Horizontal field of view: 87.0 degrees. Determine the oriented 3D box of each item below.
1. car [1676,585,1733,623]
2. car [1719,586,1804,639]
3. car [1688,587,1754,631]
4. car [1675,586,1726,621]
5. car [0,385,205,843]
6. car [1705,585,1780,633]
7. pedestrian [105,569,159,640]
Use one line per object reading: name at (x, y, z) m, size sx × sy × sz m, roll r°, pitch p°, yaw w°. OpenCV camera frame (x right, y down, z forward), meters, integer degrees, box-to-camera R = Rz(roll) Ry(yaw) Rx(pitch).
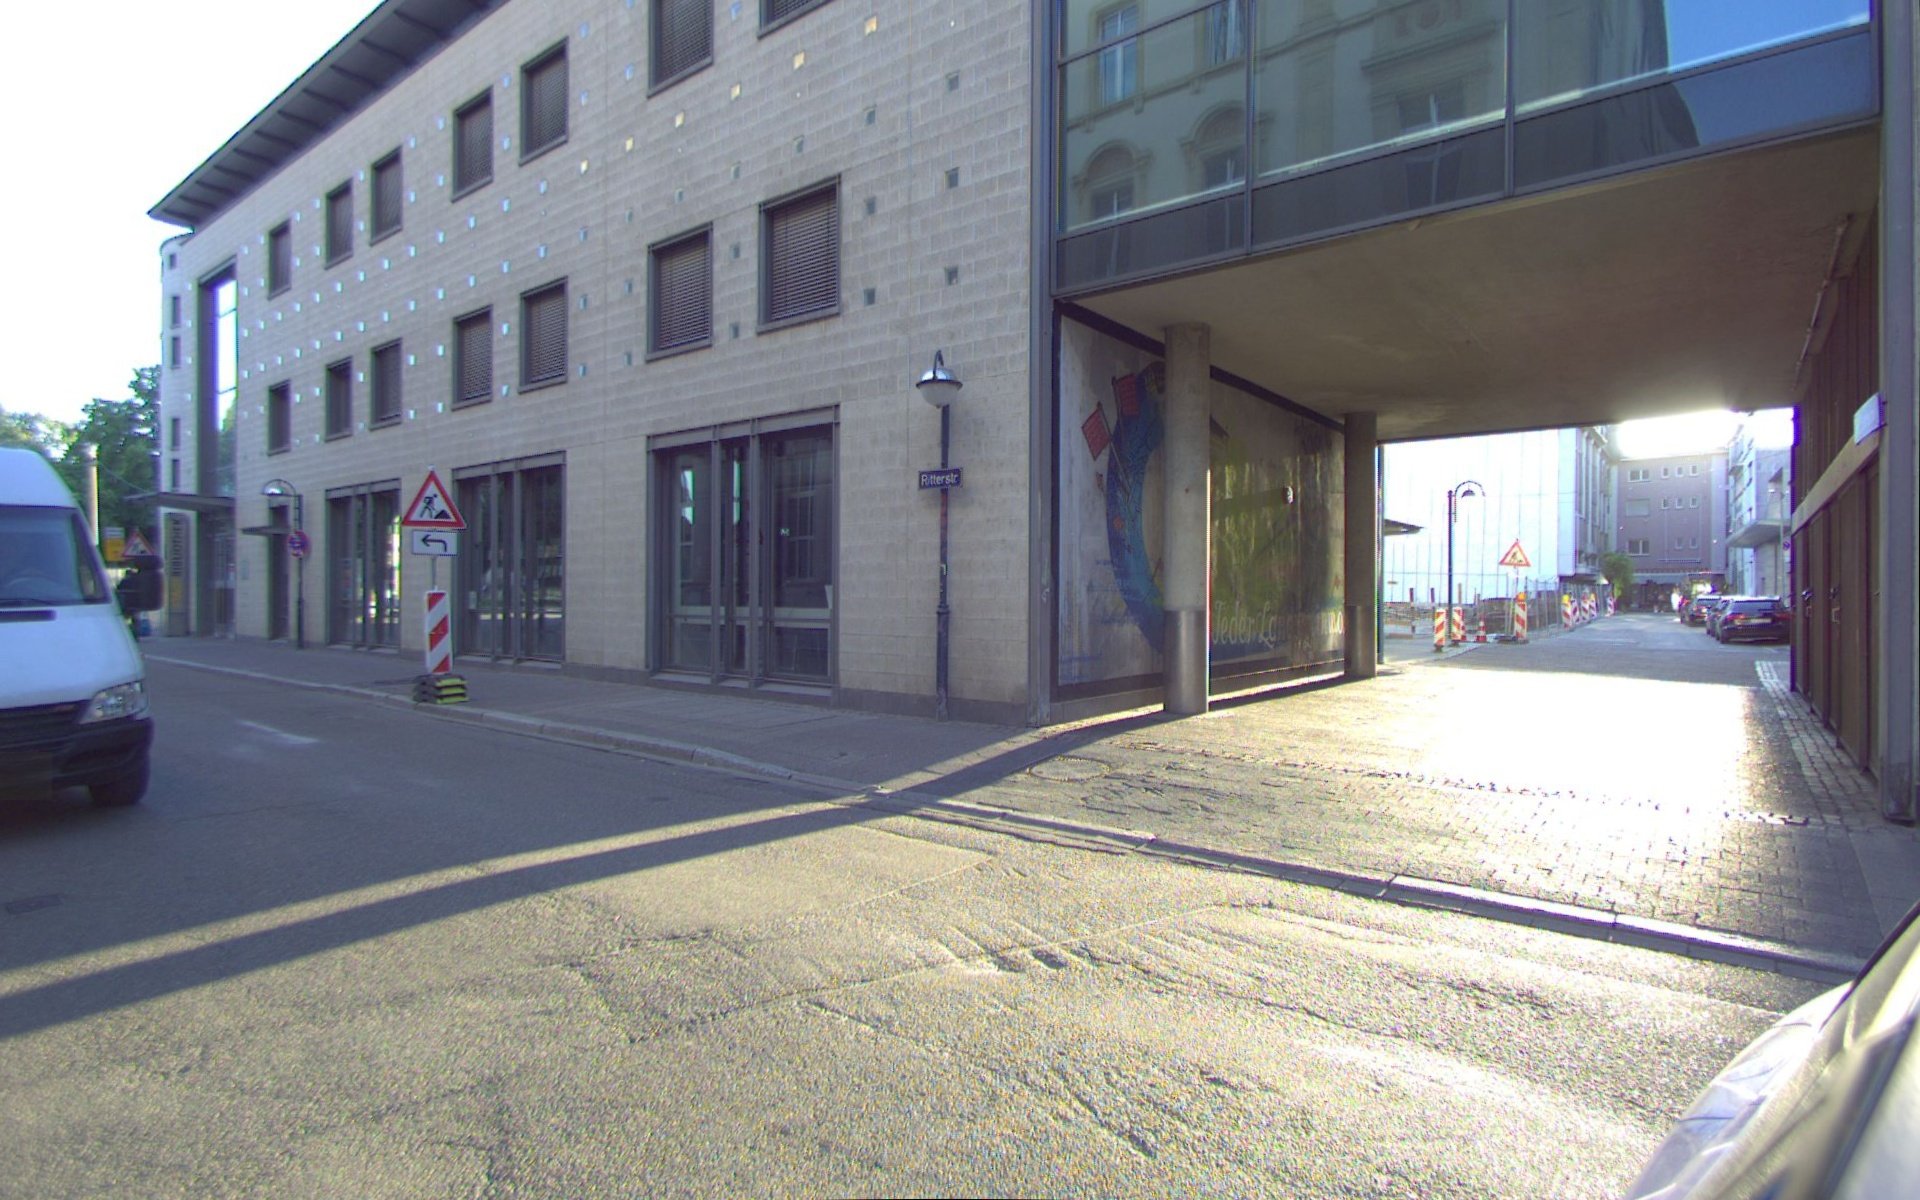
car at (31.509, 0.134, 42.885) m, size 1.589 × 1.512 × 3.408 m, roll 0°, pitch 1°, yaw 31°
car at (24.690, 0.342, 31.284) m, size 1.589 × 1.512 × 3.408 m, roll 0°, pitch 1°, yaw 31°
car at (28.463, 0.297, 37.916) m, size 1.589 × 1.512 × 3.408 m, roll 0°, pitch 1°, yaw 31°
car at (34.236, 0.121, 46.849) m, size 1.589 × 1.512 × 3.408 m, roll 0°, pitch 1°, yaw 31°
car at (-7.995, 0.043, 7.451) m, size 6.429 × 2.542 × 1.978 m, roll 1°, pitch 4°, yaw 36°
car at (26.519, 0.264, 34.404) m, size 1.589 × 1.512 × 3.408 m, roll 0°, pitch 1°, yaw 31°
pedestrian at (-20.703, 0.099, 25.319) m, size 0.865 × 1.723 × 0.912 m, roll 1°, pitch 1°, yaw 41°
